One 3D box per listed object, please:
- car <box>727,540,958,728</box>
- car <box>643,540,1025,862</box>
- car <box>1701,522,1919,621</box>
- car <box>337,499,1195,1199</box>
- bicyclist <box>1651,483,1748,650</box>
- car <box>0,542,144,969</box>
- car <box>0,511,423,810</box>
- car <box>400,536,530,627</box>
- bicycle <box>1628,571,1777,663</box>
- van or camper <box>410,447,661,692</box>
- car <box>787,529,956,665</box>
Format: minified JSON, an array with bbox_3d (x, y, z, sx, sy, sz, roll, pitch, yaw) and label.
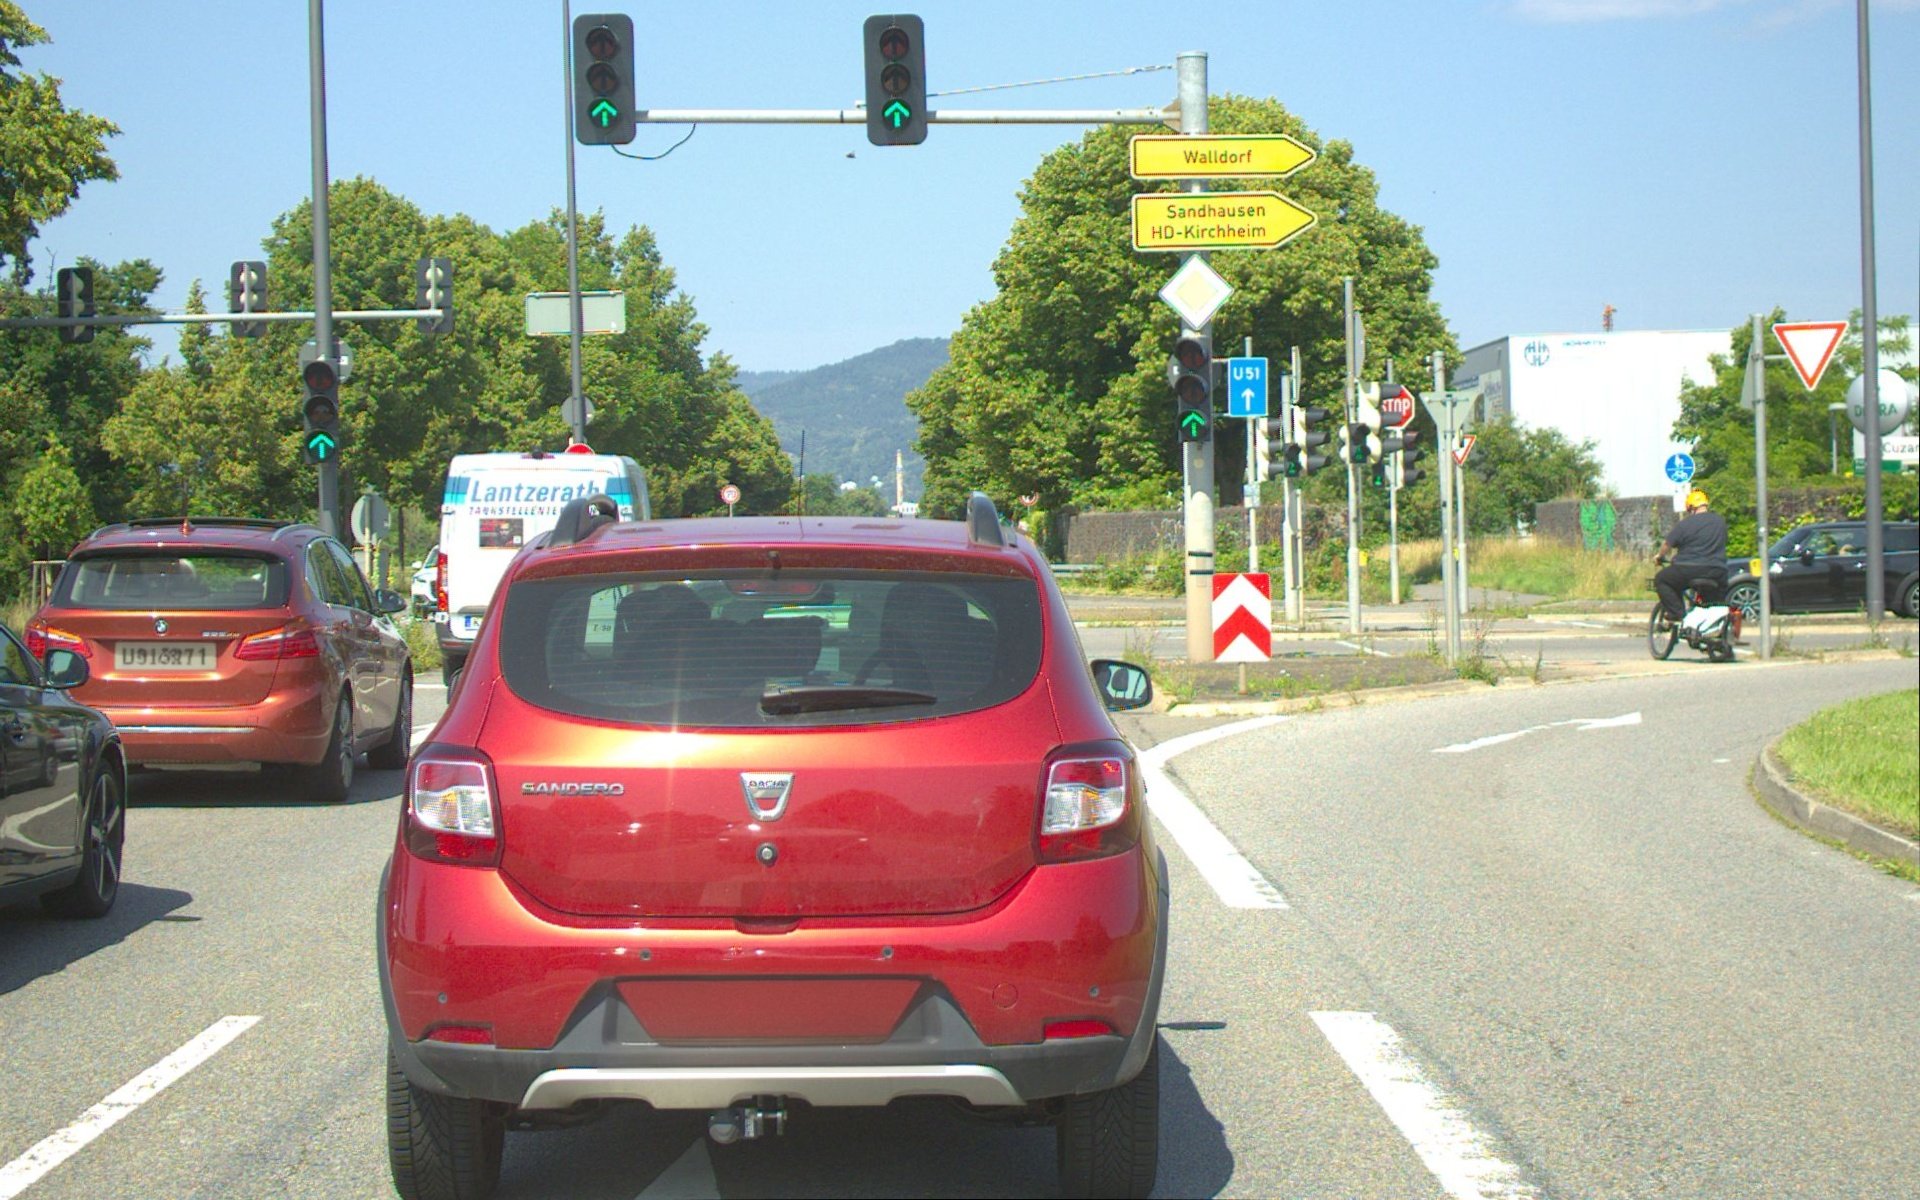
[{"bbox_3d":[-0.921,0.236,28.819,1.749,1.453,3.676,0,1,1],"label":"car"},{"bbox_3d":[-0.550,0.434,17.628,1.749,1.453,3.676,0,1,1],"label":"car"},{"bbox_3d":[12.643,-0.418,48.776,3.988,1.322,1.806,-1,1,7],"label":"car"},{"bbox_3d":[-0.370,0.543,8.848,1.749,1.570,3.676,0,1,1],"label":"car"},{"bbox_3d":[8.014,-0.370,37.284,0.802,1.765,0.809,-1,1,-5],"label":"bicyclist"},{"bbox_3d":[-4.137,0.538,11.862,1.702,1.437,3.956,1,2,0],"label":"car"},{"bbox_3d":[-4.317,0.280,20.363,1.724,1.594,3.956,0,1,-1],"label":"car"},{"bbox_3d":[-9.645,-0.382,67.263,1.993,1.664,4.000,-1,1,-1],"label":"car"},{"bbox_3d":[8.035,0.168,37.345,0.761,0.911,2.780,-1,1,-5],"label":"bicycle"},{"bbox_3d":[-4.213,-0.334,34.856,2.179,2.295,4.827,0,1,-3],"label":"van or camper"},{"bbox_3d":[-0.956,-0.070,38.911,1.749,1.453,3.676,0,1,1],"label":"car"}]
